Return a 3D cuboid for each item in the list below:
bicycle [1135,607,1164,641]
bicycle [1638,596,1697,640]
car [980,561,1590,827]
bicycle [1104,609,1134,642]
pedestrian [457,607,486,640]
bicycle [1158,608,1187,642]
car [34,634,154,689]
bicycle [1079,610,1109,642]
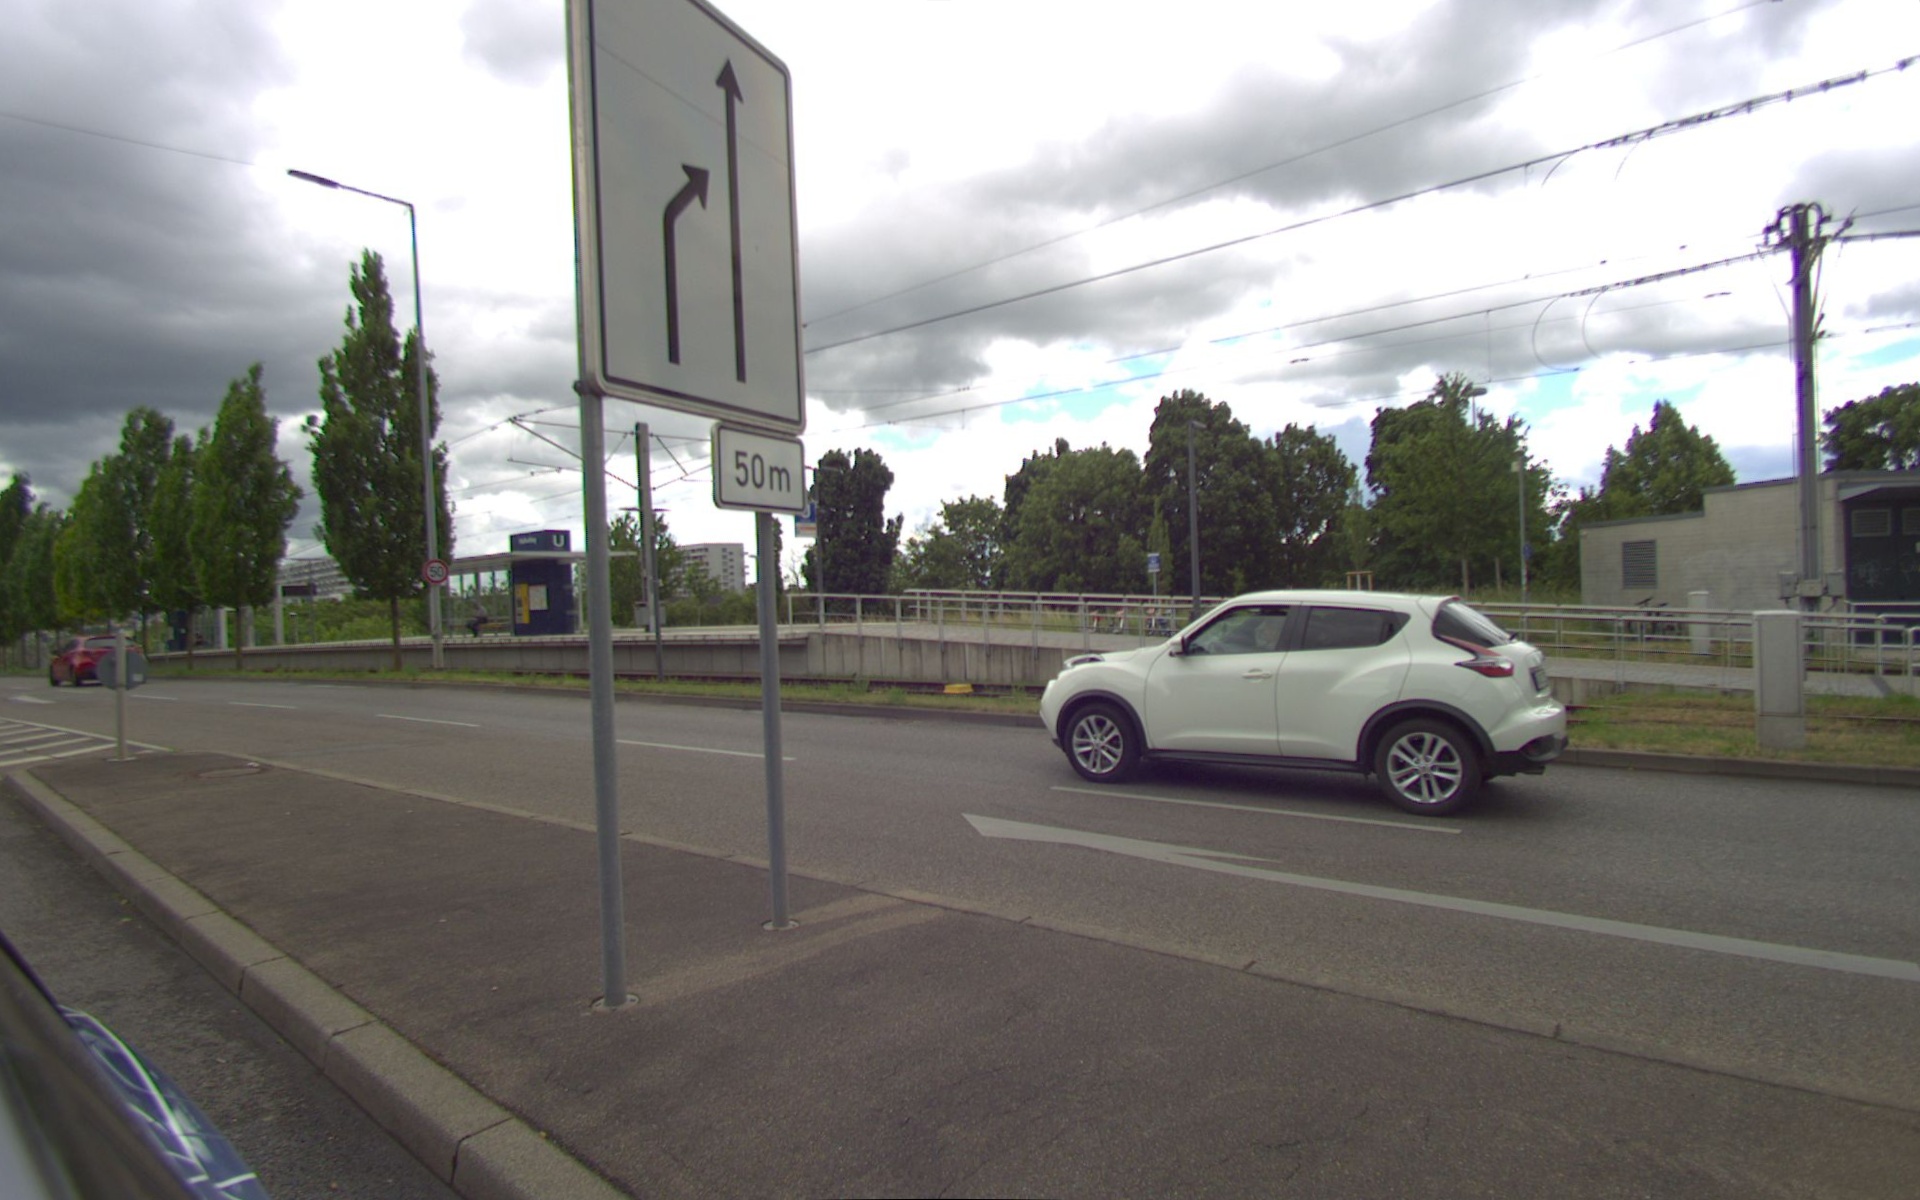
[{"bbox_3d":[6.371,0.801,33.938,0.490,1.095,1.466,-2,-1,30],"label":"bicycle"},{"bbox_3d":[18.186,0.454,26.050,0.486,1.095,1.480,-1,-1,3],"label":"bicycle"},{"bbox_3d":[2.484,0.623,8.308,4.418,1.641,1.812,-1,-1,37],"label":"car"},{"bbox_3d":[5.431,0.864,34.449,0.490,1.095,1.466,-2,-1,30],"label":"bicycle"},{"bbox_3d":[-18.260,0.875,37.862,0.781,1.211,0.656,-2,-1,33],"label":"pedestrian"},{"bbox_3d":[7.037,0.812,33.458,0.490,1.095,1.466,-2,-1,30],"label":"bicycle"},{"bbox_3d":[-25.757,1.809,30.051,4.417,1.454,1.765,-3,-1,36],"label":"car"},{"bbox_3d":[4.674,0.898,35.151,0.490,1.095,1.466,-2,-1,30],"label":"bicycle"}]
